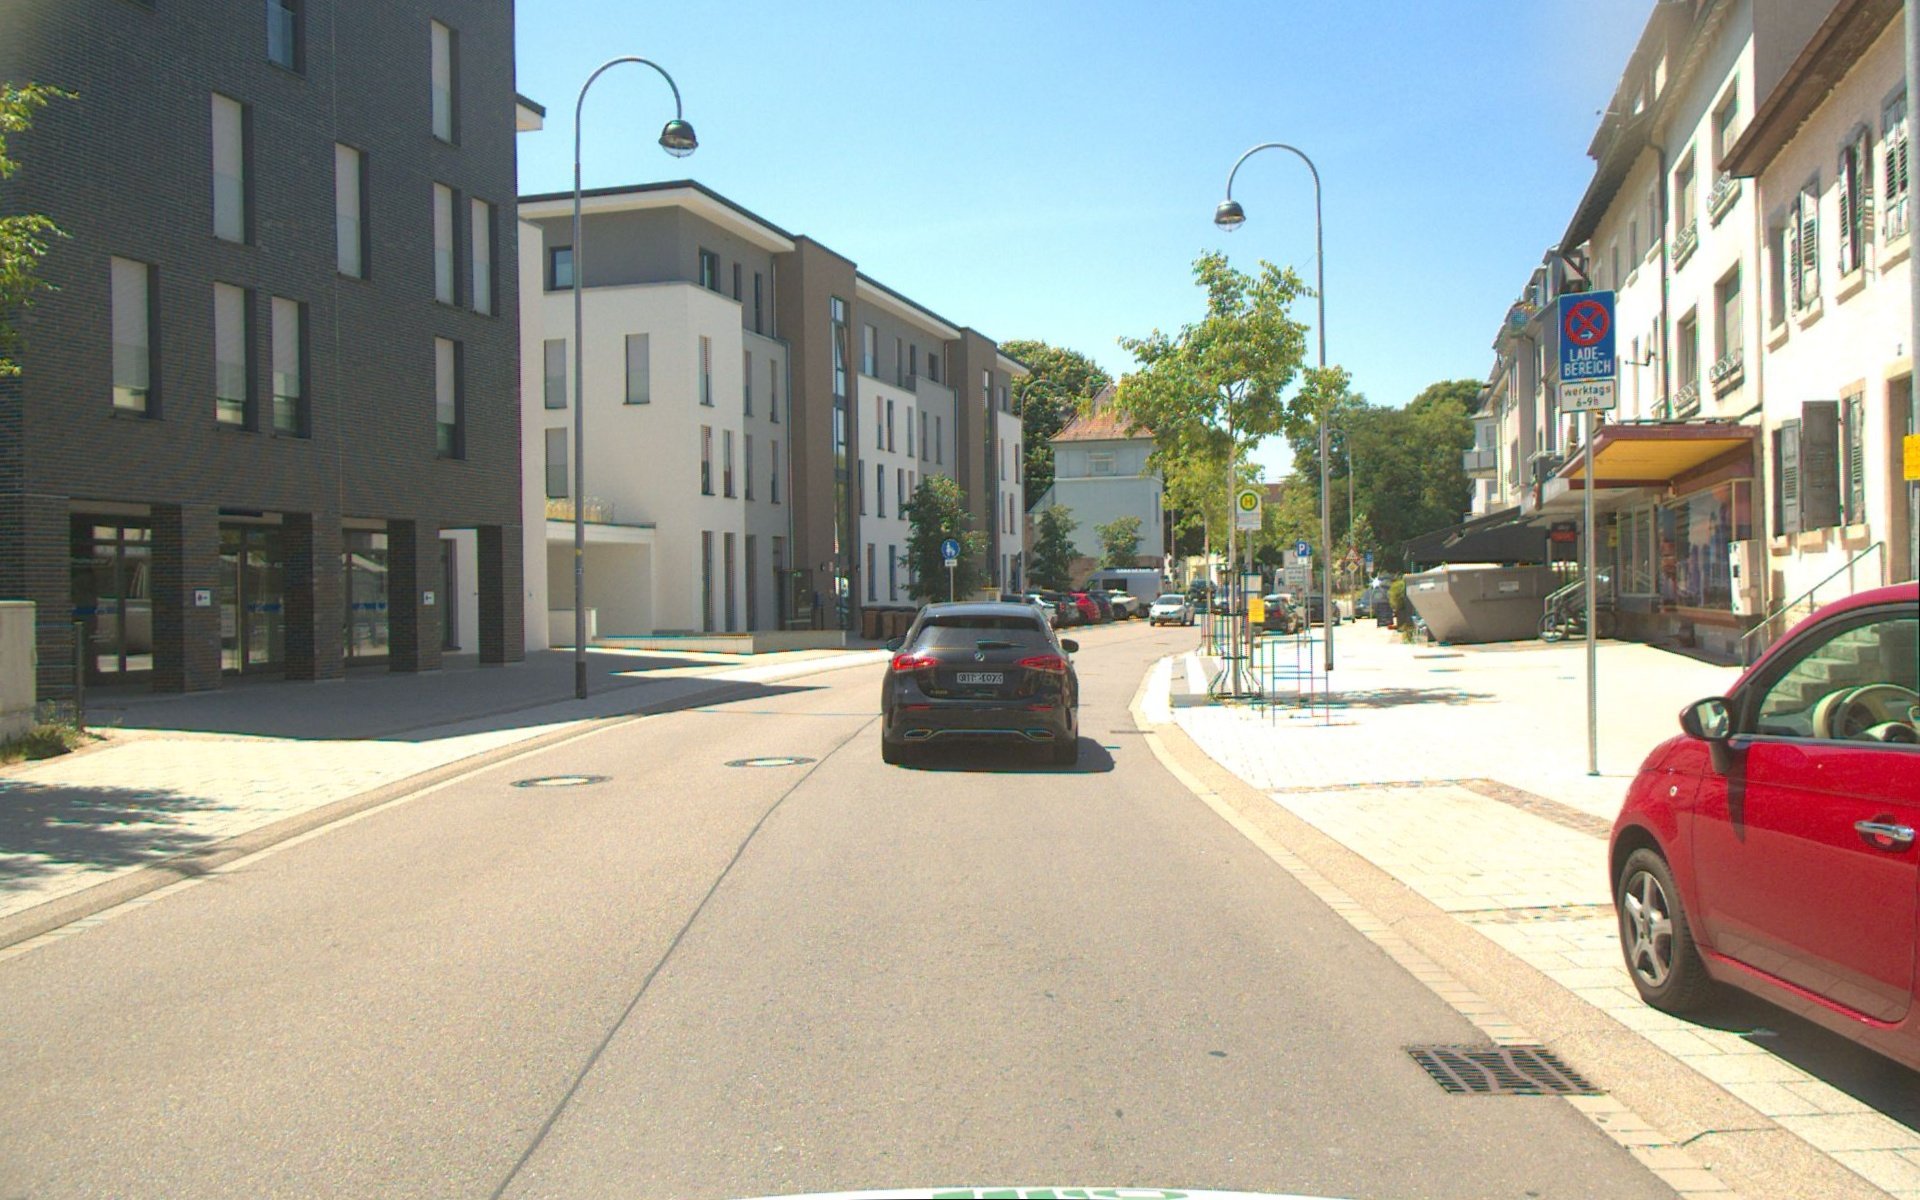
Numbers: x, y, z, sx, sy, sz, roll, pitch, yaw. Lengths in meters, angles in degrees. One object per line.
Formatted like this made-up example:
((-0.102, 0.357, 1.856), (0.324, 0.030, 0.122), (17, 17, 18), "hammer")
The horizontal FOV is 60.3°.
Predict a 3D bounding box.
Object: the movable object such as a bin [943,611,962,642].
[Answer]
((-0.249, 0.876, 54.772), (0.472, 1.015, 0.588), (0, 0, 15), "movable object such as a bin")

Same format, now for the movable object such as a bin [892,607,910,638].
((-2.032, 0.782, 56.767), (0.607, 1.057, 0.582), (0, 0, -1), "movable object such as a bin")

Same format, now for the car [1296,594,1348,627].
((16.581, 0.461, 75.690), (1.688, 1.430, 4.610), (-2, 0, 20), "car")

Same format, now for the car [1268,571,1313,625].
((18.680, -0.126, 93.345), (2.082, 2.674, 5.283), (-4, 1, 14), "car")

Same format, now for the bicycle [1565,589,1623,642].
((14.729, 0.354, 38.426), (1.244, 1.204, 0.415), (1, 0, 24), "bicycle")

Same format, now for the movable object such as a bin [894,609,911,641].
((-1.877, 0.823, 54.406), (0.415, 1.015, 0.524), (0, 0, 16), "movable object such as a bin")

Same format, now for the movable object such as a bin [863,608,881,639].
((-2.924, 0.788, 55.105), (0.472, 1.015, 0.588), (0, 0, 9), "movable object such as a bin")

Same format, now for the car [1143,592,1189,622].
((9.730, 0.322, 77.921), (1.631, 1.420, 3.850), (0, 0, 15), "car")

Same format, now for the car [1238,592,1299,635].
((11.949, 0.516, 63.939), (1.794, 1.508, 4.098), (-3, -1, 17), "car")

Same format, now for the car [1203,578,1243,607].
((15.558, -0.417, 97.674), (1.901, 1.687, 4.238), (0, 0, 15), "car")

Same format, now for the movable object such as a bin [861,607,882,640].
((-3.019, 0.799, 56.608), (0.678, 1.115, 0.647), (-1, 0, -1), "movable object such as a bin")

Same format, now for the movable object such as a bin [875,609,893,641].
((-2.498, 0.816, 54.398), (0.472, 1.015, 0.527), (0, 0, 14), "movable object such as a bin")

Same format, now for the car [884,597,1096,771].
((0.177, 0.716, 15.994), (1.791, 1.467, 3.998), (0, 0, -2), "car")

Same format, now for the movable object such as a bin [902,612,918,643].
((-1.663, 0.922, 54.949), (0.394, 1.015, 0.556), (0, 0, 15), "movable object such as a bin")

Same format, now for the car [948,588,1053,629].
((1.667, 0.335, 67.450), (3.903, 1.541, 2.002), (1, 2, 17), "car")

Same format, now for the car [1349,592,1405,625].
((21.676, 0.441, 85.904), (1.837, 1.517, 3.855), (-2, 1, 30), "car")

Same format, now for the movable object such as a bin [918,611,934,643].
((-1.129, 0.892, 54.787), (0.394, 1.015, 0.556), (0, 0, 15), "movable object such as a bin")

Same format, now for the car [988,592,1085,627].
((3.473, 0.409, 74.772), (3.948, 1.523, 2.001), (1, 0, 18), "car")

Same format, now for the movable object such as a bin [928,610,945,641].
((-0.774, 0.842, 54.224), (0.472, 1.015, 0.588), (0, 0, 9), "movable object such as a bin")

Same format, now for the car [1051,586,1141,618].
((7.121, 0.104, 86.583), (4.359, 1.619, 2.001), (1, 0, 16), "car")

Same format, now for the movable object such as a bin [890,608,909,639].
((-2.106, 0.820, 57.505), (0.662, 1.057, 0.604), (-1, 0, -1), "movable object such as a bin")

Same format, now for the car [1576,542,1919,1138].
((3.270, 0.582, 4.694), (1.645, 1.540, 3.385), (-3, 0, -2), "car")

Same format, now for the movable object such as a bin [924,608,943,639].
((-0.908, 0.808, 57.283), (0.542, 1.038, 0.561), (0, 0, 11), "movable object such as a bin")

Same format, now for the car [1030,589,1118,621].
((5.633, 0.238, 81.388), (4.110, 1.463, 1.887), (1, 0, 12), "car")

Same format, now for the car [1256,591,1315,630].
((13.792, 0.421, 69.869), (1.702, 1.512, 4.054), (-3, -1, 21), "car")

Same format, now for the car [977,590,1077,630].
((2.946, 0.421, 71.992), (3.948, 1.680, 2.001), (1, 0, 18), "car")

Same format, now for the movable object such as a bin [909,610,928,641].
((-1.353, 0.831, 54.502), (0.472, 1.015, 0.588), (0, 0, 15), "movable object such as a bin")

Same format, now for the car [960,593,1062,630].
((2.166, 0.465, 69.593), (3.903, 1.446, 1.911), (1, 0, 17), "car")

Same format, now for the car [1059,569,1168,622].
((8.476, -0.265, 91.289), (5.646, 2.780, 2.293), (1, 0, 17), "car")

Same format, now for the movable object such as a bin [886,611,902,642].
((-2.194, 0.862, 54.926), (0.394, 1.015, 0.556), (0, 0, 15), "movable object such as a bin")

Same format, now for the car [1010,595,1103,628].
((4.484, 0.513, 76.857), (3.948, 1.455, 2.001), (1, 0, 18), "car")
